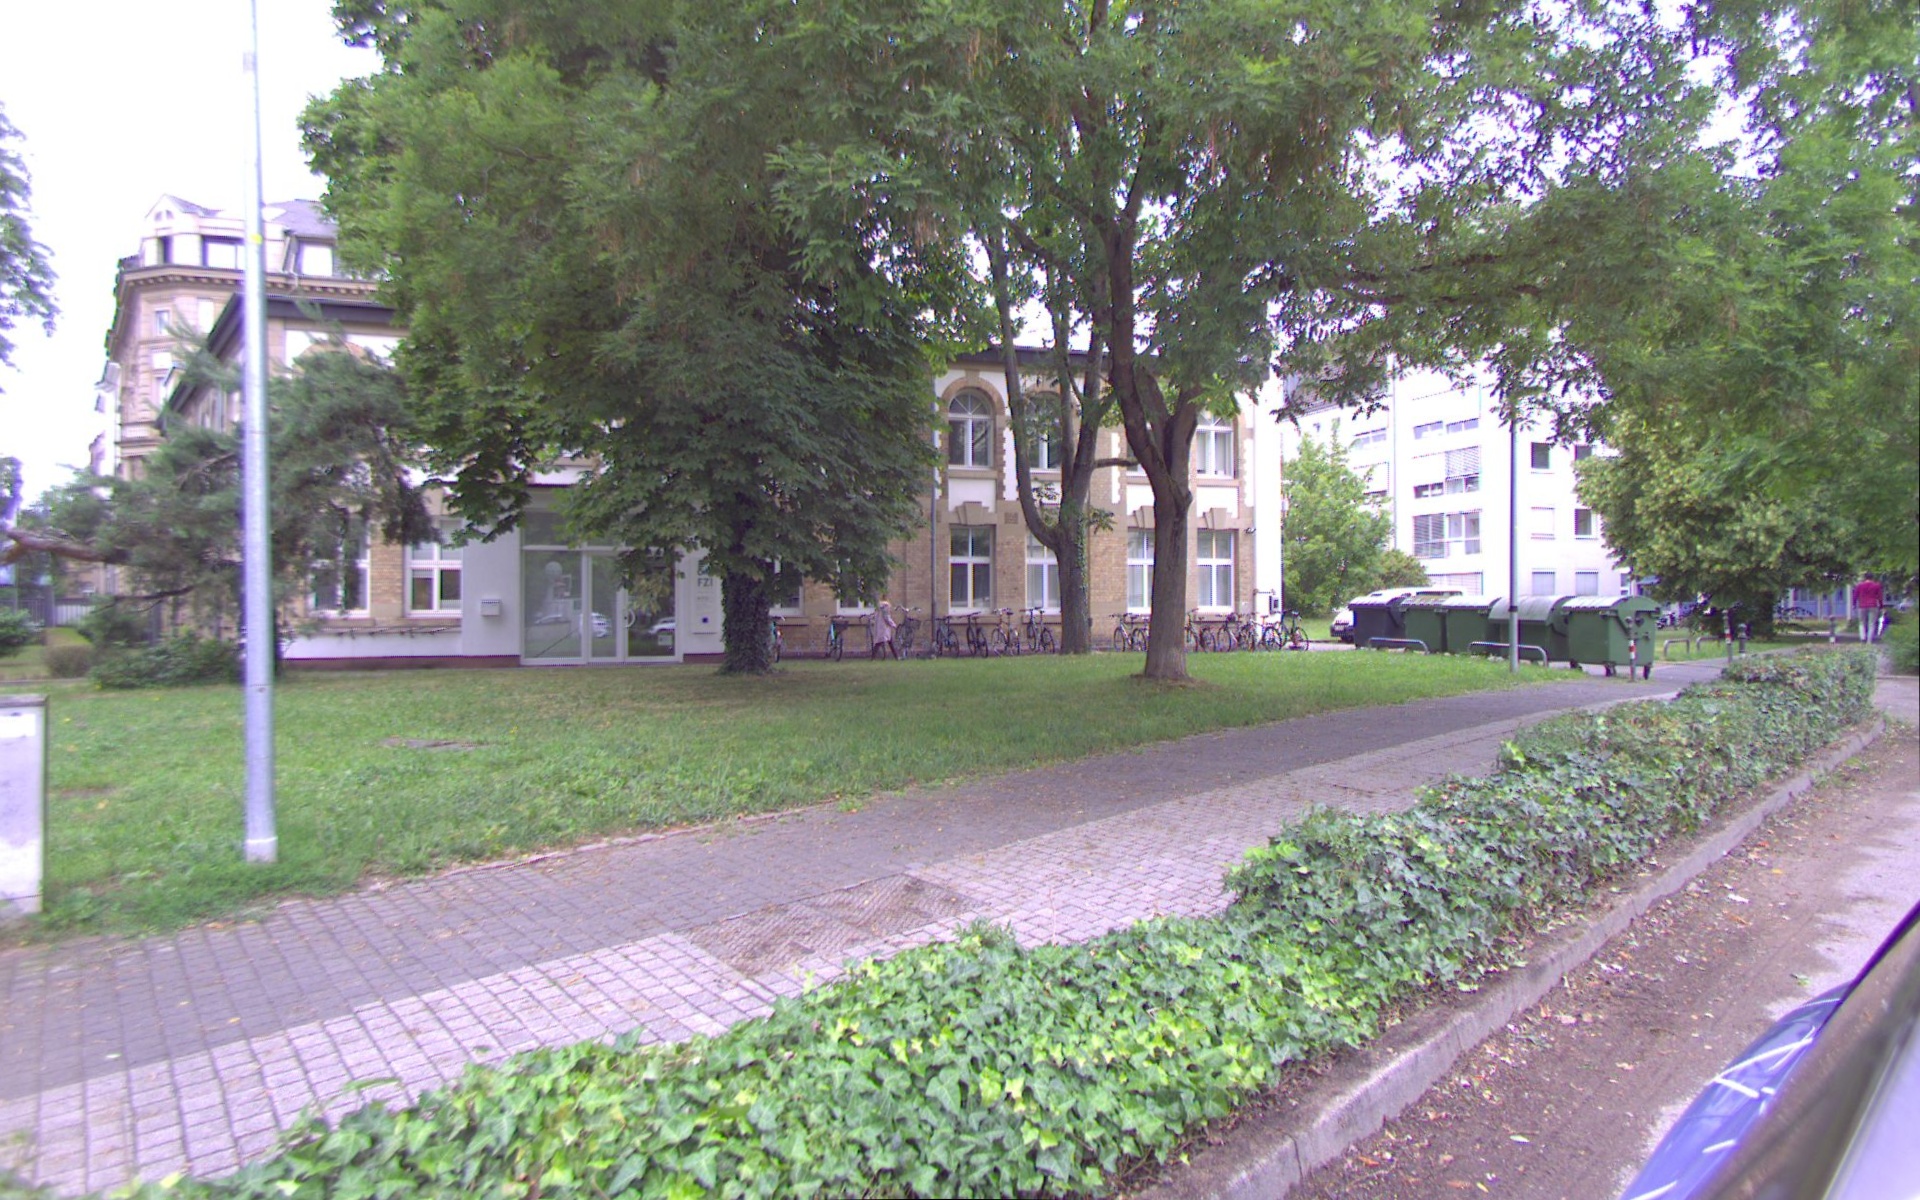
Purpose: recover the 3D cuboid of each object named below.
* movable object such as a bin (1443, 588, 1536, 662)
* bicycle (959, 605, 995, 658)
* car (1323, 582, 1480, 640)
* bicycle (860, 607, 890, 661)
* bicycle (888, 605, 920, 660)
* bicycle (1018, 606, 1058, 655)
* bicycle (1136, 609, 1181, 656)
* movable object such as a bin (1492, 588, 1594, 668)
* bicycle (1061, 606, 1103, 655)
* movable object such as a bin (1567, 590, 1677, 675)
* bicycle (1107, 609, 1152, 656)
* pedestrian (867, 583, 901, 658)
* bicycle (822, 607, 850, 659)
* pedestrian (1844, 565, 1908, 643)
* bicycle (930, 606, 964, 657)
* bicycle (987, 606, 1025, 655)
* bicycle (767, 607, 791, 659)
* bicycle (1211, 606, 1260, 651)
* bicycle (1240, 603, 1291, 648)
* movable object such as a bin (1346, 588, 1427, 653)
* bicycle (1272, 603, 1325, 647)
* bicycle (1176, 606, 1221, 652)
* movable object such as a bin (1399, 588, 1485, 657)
[{"bbox_3d":[10.962,0.495,20.984,1.085,1.468,1.297,-1,0,-20],"label":"movable object such as a bin"},{"bbox_3d":[0.400,0.739,24.186,0.451,1.128,1.749,0,2,-13],"label":"bicycle"},{"bbox_3d":[15.185,0.392,34.877,4.673,1.898,1.904,-1,-2,-13],"label":"car"},{"bbox_3d":[-1.983,0.758,23.362,0.451,1.128,1.748,0,2,-13],"label":"bicycle"},{"bbox_3d":[-1.329,0.727,23.611,0.451,1.128,1.749,0,3,-13],"label":"bicycle"},{"bbox_3d":[1.889,0.728,24.658,0.451,1.129,1.748,0,0,-13],"label":"bicycle"},{"bbox_3d":[4.991,0.790,25.561,0.451,1.129,1.748,0,0,-13],"label":"bicycle"},{"bbox_3d":[11.201,0.512,19.484,1.085,1.468,1.289,-1,0,-17],"label":"movable object such as a bin"},{"bbox_3d":[2.983,0.733,24.942,0.451,1.128,1.748,0,0,-13],"label":"bicycle"},{"bbox_3d":[11.787,0.556,18.071,1.050,1.452,1.277,0,0,-6],"label":"movable object such as a bin"},{"bbox_3d":[4.236,0.790,25.395,0.451,1.129,1.748,0,0,-13],"label":"bicycle"},{"bbox_3d":[-1.657,0.437,22.082,0.614,1.607,0.605,0,0,-15],"label":"pedestrian"},{"bbox_3d":[-2.859,0.740,23.228,0.451,1.129,1.748,0,0,-13],"label":"bicycle"},{"bbox_3d":[25.041,0.114,27.670,1.176,2.090,0.796,0,0,-19],"label":"pedestrian"},{"bbox_3d":[-0.327,0.727,24.029,0.451,1.128,1.748,0,1,-13],"label":"bicycle"},{"bbox_3d":[1.095,0.715,24.494,0.451,1.129,1.748,0,0,-13],"label":"bicycle"},{"bbox_3d":[-4.109,0.727,22.918,0.451,1.129,1.748,0,0,-13],"label":"bicycle"},{"bbox_3d":[7.105,0.718,26.155,0.451,1.129,1.748,0,0,-13],"label":"bicycle"},{"bbox_3d":[7.936,0.643,26.358,0.451,1.129,1.748,0,0,-13],"label":"bicycle"},{"bbox_3d":[10.020,0.456,23.817,1.085,1.468,1.365,-1,0,-20],"label":"movable object such as a bin"},{"bbox_3d":[8.885,0.637,26.618,0.451,1.129,1.748,0,0,-14],"label":"bicycle"},{"bbox_3d":[6.087,0.721,25.922,0.451,1.129,1.747,0,0,-11],"label":"bicycle"},{"bbox_3d":[10.636,0.480,22.379,1.085,1.468,1.329,-1,0,-20],"label":"movable object such as a bin"}]
